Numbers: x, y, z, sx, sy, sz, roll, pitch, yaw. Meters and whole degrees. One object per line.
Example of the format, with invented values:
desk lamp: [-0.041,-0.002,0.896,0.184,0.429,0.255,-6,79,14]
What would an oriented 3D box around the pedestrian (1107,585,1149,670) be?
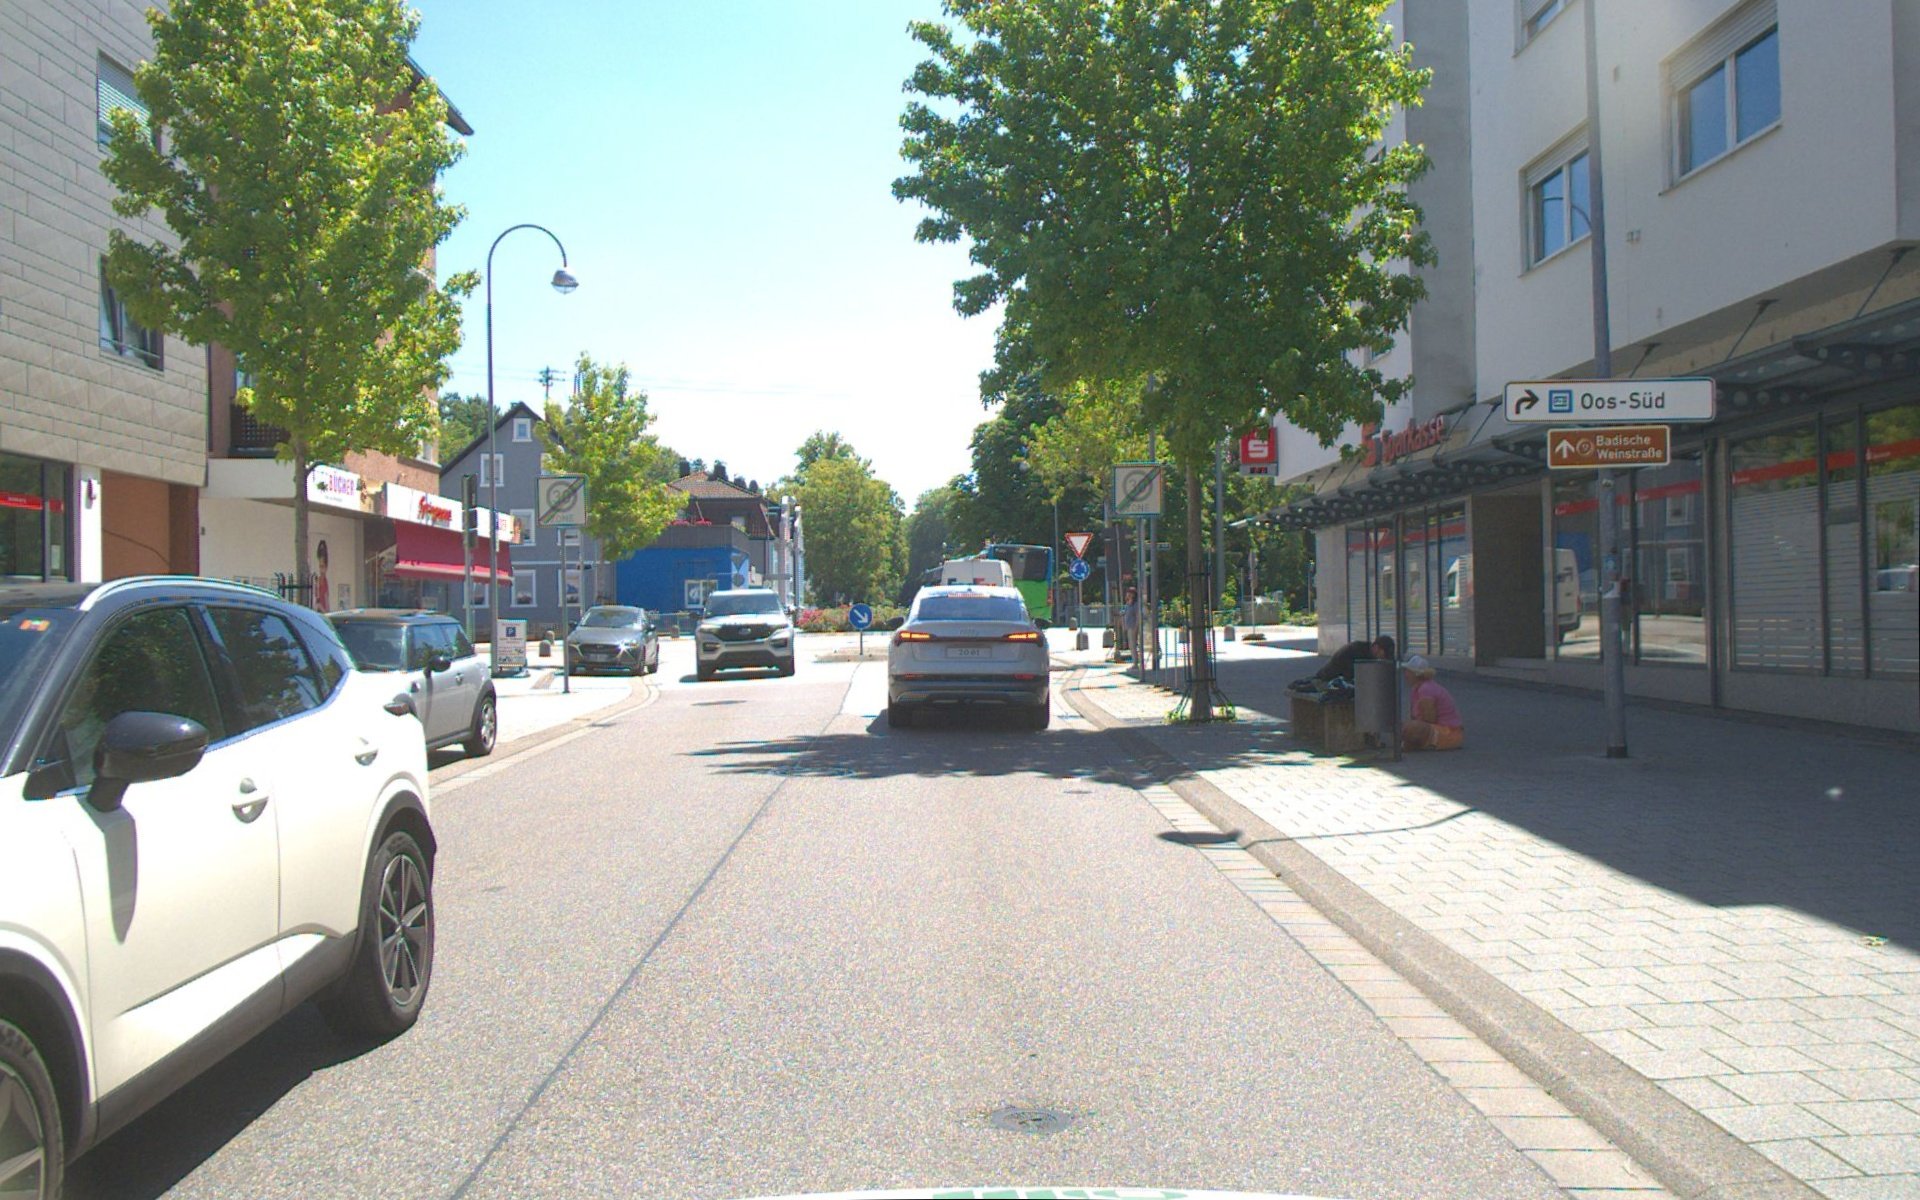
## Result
pedestrian: [3.286,0.537,32.379,0.717,1.638,0.559,-1,0,1]

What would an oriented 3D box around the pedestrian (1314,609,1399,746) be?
pedestrian: [3.771,0.733,15.744,0.744,1.262,0.538,-2,-1,13]

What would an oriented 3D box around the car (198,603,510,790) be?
car: [-5.444,0.797,15.313,1.588,1.499,3.548,-1,0,-1]

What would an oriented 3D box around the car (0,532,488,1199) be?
car: [-2.788,0.757,4.465,1.735,1.661,4.299,-4,0,-1]

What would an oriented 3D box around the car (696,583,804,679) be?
car: [-4.290,0.604,34.393,1.863,1.784,4.753,-2,0,-4]

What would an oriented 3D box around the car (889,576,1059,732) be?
car: [0.145,0.592,20.351,1.859,1.691,4.409,1,0,0]

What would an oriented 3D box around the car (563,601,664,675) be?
car: [-7.664,0.813,36.904,1.634,1.512,4.057,2,0,-4]

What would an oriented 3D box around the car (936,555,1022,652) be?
car: [0.592,0.095,46.437,1.951,2.524,5.487,-1,0,5]

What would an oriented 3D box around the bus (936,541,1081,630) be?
bus: [1.691,-0.439,70.597,3.635,3.227,18.042,1,-1,-7]

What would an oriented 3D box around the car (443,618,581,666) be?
car: [-15.531,1.431,57.493,4.337,1.483,1.767,-2,1,-5]

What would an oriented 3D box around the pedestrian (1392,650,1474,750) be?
pedestrian: [4.315,0.910,15.115,0.663,0.867,0.538,-2,-1,13]

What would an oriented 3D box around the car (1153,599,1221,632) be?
car: [11.505,0.787,83.929,2.998,1.580,1.628,-1,0,-15]
